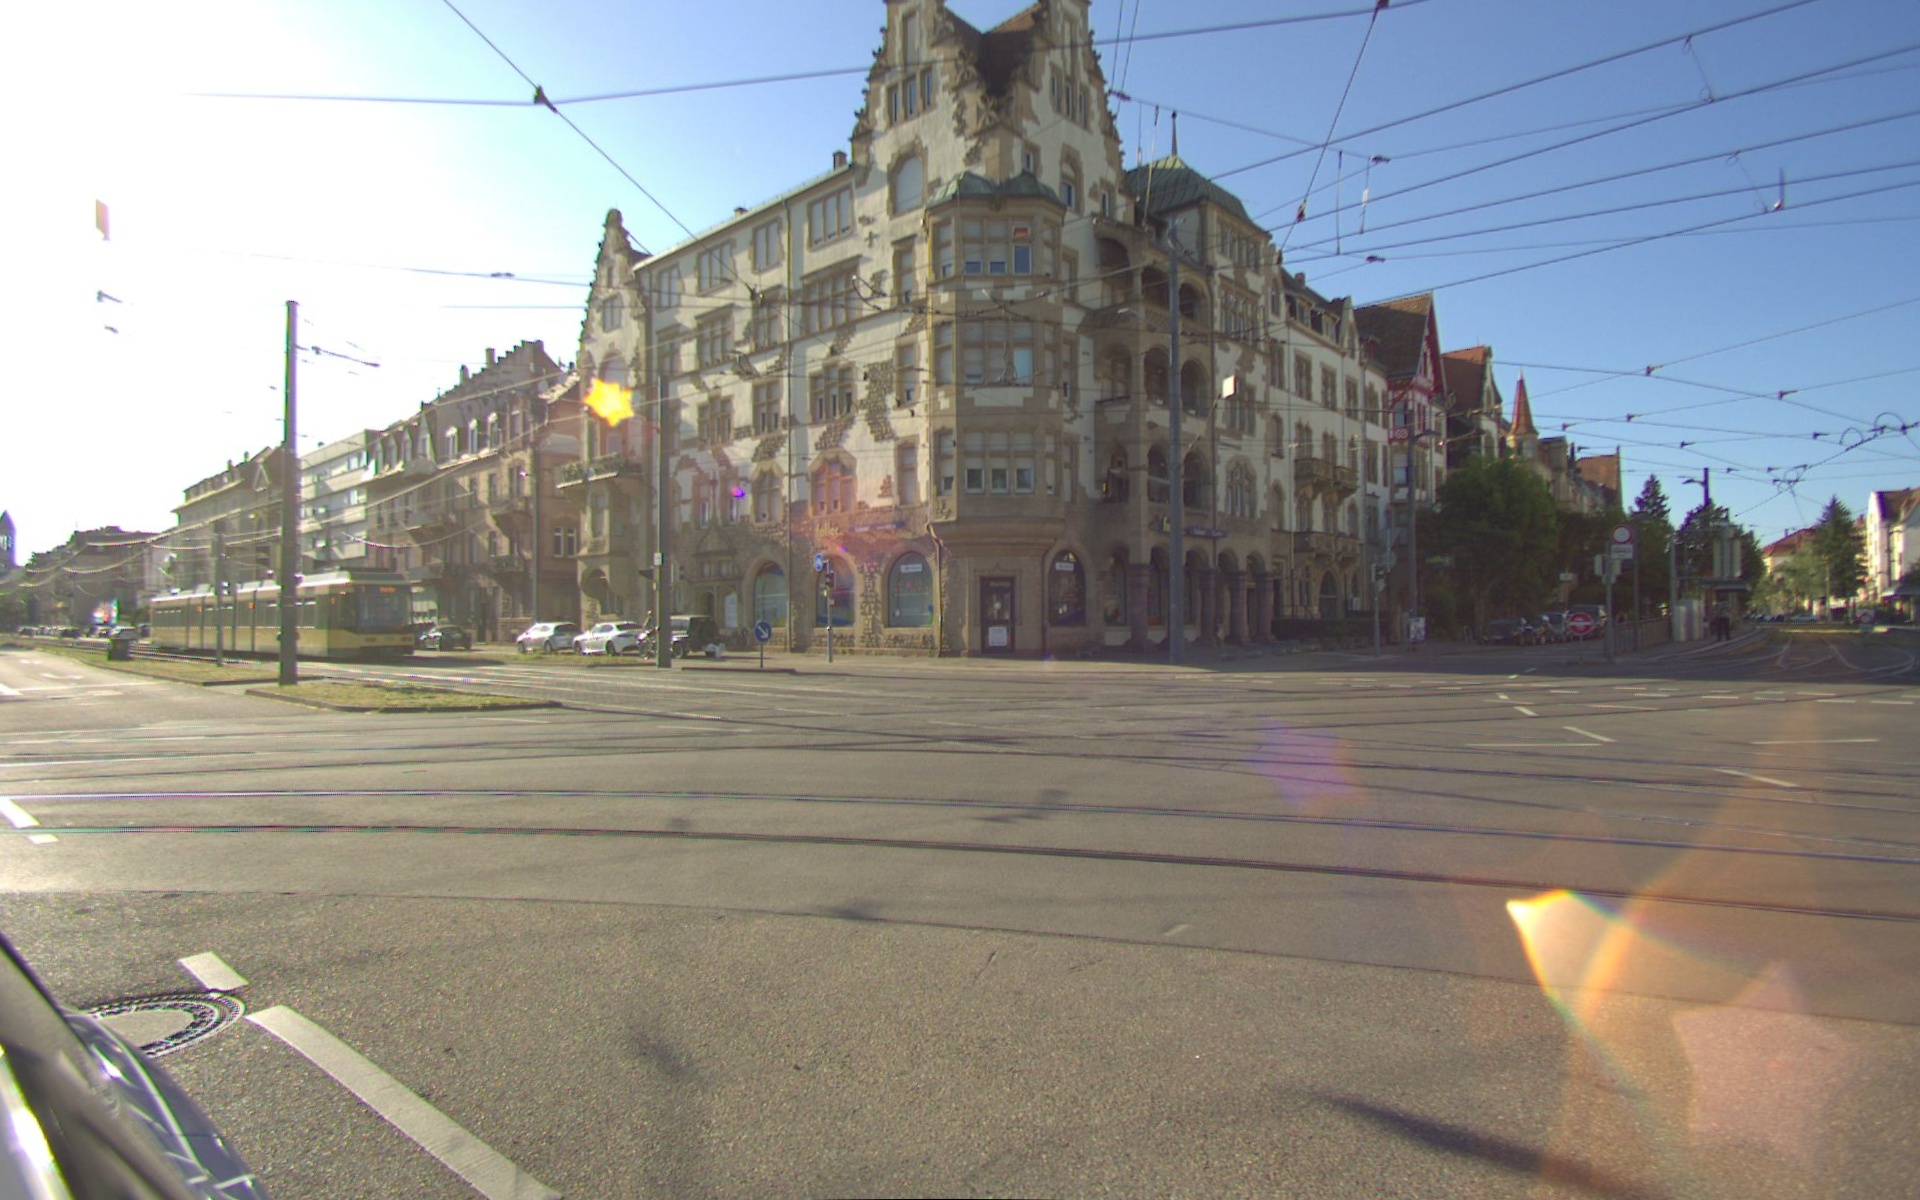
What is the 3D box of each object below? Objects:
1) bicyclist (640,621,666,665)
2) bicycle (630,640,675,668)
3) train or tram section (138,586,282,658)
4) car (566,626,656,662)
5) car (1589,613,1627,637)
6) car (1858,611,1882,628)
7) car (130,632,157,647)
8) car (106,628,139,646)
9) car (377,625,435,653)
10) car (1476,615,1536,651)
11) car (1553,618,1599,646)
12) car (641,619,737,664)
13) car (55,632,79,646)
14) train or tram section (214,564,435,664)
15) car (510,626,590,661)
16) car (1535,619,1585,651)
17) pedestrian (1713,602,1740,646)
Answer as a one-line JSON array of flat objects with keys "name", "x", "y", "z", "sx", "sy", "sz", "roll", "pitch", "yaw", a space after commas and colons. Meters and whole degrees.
[{"name": "bicyclist", "x": -11.543, "y": 1.609, "z": 38.043, "sx": 0.630, "sy": 1.631, "sz": 0.675, "roll": -2, "pitch": -2, "yaw": 40}, {"name": "bicycle", "x": -11.576, "y": 2.025, "z": 38.048, "sx": 2.067, "sy": 1.010, "sz": 0.599, "roll": -2, "pitch": -2, "yaw": 40}, {"name": "train or tram section", "x": -41.443, "y": 1.220, "z": 55.379, "sx": 19.471, "sy": 3.424, "sz": 2.745, "roll": -1, "pitch": -1, "yaw": 43}, {"name": "car", "x": -15.218, "y": 1.899, "z": 44.039, "sx": 4.429, "sy": 1.487, "sz": 1.705, "roll": -2, "pitch": -2, "yaw": 40}, {"name": "car", "x": 45.027, "y": 1.743, "z": 70.271, "sx": 1.725, "sy": 1.586, "sz": 3.947, "roll": -2, "pitch": -2, "yaw": 39}, {"name": "car", "x": 114.303, "y": 2.476, "z": 127.107, "sx": 1.998, "sy": 2.029, "sz": 3.946, "roll": -2, "pitch": -2, "yaw": 40}, {"name": "car", "x": -95.632, "y": 4.626, "z": 118.484, "sx": 3.998, "sy": 1.682, "sz": 1.757, "roll": -2, "pitch": -2, "yaw": 41}, {"name": "car", "x": -78.536, "y": 3.469, "z": 94.902, "sx": 3.998, "sy": 1.682, "sz": 1.757, "roll": -2, "pitch": -2, "yaw": 41}, {"name": "car", "x": -32.209, "y": 2.259, "z": 58.786, "sx": 3.999, "sy": 1.536, "sz": 1.718, "roll": -2, "pitch": 0, "yaw": 43}, {"name": "car", "x": 25.130, "y": 1.498, "z": 46.528, "sx": 1.725, "sy": 1.586, "sz": 3.947, "roll": -2, "pitch": -2, "yaw": 39}, {"name": "car", "x": 35.604, "y": 1.824, "z": 58.440, "sx": 1.725, "sy": 1.586, "sz": 3.947, "roll": -2, "pitch": -2, "yaw": 39}, {"name": "car", "x": -10.765, "y": 1.635, "z": 40.063, "sx": 3.998, "sy": 1.682, "sz": 1.757, "roll": -2, "pitch": -2, "yaw": 41}, {"name": "car", "x": -109.969, "y": 4.767, "z": 124.607, "sx": 3.998, "sy": 1.682, "sz": 1.757, "roll": -2, "pitch": -2, "yaw": 41}, {"name": "train or tram section", "x": -27.050, "y": 0.781, "z": 42.079, "sx": 19.470, "sy": 3.424, "sz": 2.745, "roll": -3, "pitch": -2, "yaw": 43}, {"name": "car", "x": -19.295, "y": 2.026, "z": 47.579, "sx": 3.994, "sy": 1.536, "sz": 1.720, "roll": -2, "pitch": 0, "yaw": 38}, {"name": "car", "x": 32.017, "y": 1.846, "z": 53.956, "sx": 1.725, "sy": 1.586, "sz": 3.947, "roll": -2, "pitch": -2, "yaw": 39}, {"name": "pedestrian", "x": 30.265, "y": 0.942, "z": 39.959, "sx": 0.576, "sy": 1.695, "sz": 0.615, "roll": -1, "pitch": -2, "yaw": 9}]
